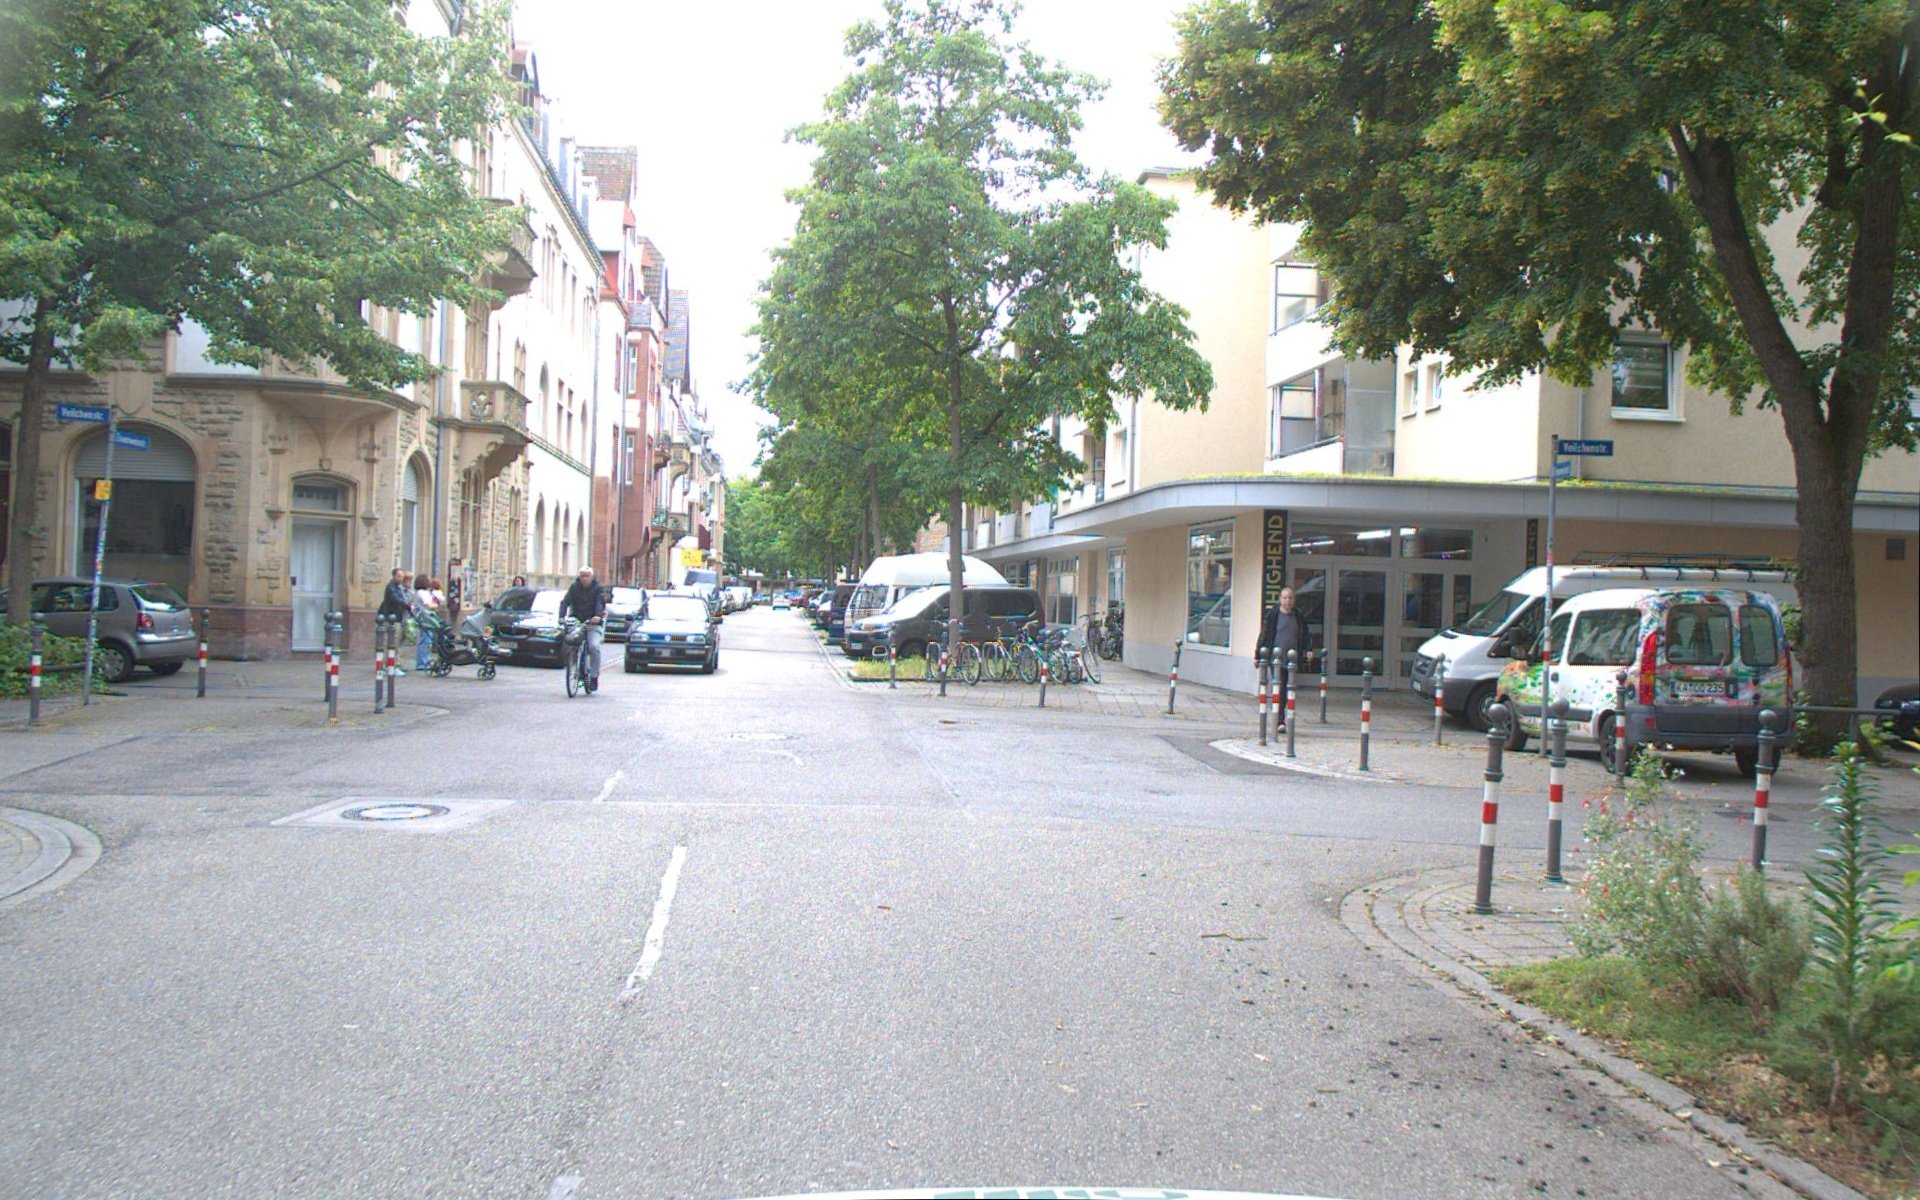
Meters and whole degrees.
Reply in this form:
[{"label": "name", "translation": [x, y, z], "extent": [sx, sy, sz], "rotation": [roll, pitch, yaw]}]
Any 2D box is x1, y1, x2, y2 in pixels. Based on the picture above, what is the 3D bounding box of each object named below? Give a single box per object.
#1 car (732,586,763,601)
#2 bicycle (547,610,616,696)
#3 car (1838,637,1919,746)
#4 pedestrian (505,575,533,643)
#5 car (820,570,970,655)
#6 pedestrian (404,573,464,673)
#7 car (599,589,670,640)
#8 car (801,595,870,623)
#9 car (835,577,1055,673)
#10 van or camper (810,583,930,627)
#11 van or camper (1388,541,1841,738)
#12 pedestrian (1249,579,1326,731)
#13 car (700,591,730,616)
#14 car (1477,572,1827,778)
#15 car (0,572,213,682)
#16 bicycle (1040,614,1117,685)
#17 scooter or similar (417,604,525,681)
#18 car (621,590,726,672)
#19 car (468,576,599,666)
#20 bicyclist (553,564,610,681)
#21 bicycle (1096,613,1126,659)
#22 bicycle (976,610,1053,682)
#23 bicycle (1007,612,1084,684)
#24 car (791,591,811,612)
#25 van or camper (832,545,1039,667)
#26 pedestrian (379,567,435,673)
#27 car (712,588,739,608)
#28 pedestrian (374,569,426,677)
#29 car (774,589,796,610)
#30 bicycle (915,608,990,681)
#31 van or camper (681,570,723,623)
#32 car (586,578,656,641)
[{"label": "car", "translation": [-26.469, -0.766, 206.277], "extent": [3.689, 1.673, 1.815], "rotation": [2, -2, 43]}, {"label": "bicycle", "translation": [-5.175, 0.708, 22.697], "extent": [0.621, 1.113, 1.797], "rotation": [2, -1, -4]}, {"label": "car", "translation": [14.973, 1.332, 23.377], "extent": [4.079, 1.453, 1.908], "rotation": [2, 0, 6]}, {"label": "pedestrian", "translation": [-10.294, 0.205, 38.594], "extent": [0.505, 1.545, 0.546], "rotation": [2, 0, -6]}, {"label": "car", "translation": [-1.774, 0.367, 46.588], "extent": [2.024, 2.235, 4.386], "rotation": [2, 0, 33]}, {"label": "pedestrian", "translation": [-8.794, 0.380, 27.657], "extent": [0.619, 1.621, 0.667], "rotation": [2, 0, 35]}, {"label": "car", "translation": [-9.919, 0.459, 50.635], "extent": [1.693, 1.411, 3.924], "rotation": [3, -1, -6]}, {"label": "car", "translation": [-7.934, 0.578, 105.631], "extent": [3.980, 1.586, 1.860], "rotation": [2, 0, -37]}, {"label": "car", "translation": [-0.299, 0.531, 34.955], "extent": [4.288, 1.886, 1.891], "rotation": [2, 0, -32]}, {"label": "van or camper", "translation": [-3.950, 0.212, 72.863], "extent": [4.961, 1.902, 2.102], "rotation": [0, 0, -34]}, {"label": "van or camper", "translation": [9.364, 0.512, 24.038], "extent": [5.653, 2.537, 2.137], "rotation": [2, 3, -1]}, {"label": "pedestrian", "translation": [4.048, 0.674, 20.452], "extent": [0.763, 1.828, 0.509], "rotation": [2, 0, -4]}, {"label": "car", "translation": [-16.045, 0.212, 108.314], "extent": [1.755, 1.506, 4.016], "rotation": [3, 0, -7]}, {"label": "car", "translation": [7.009, 0.689, 17.238], "extent": [1.735, 1.851, 3.997], "rotation": [2, 0, -4]}, {"label": "car", "translation": [-13.207, 0.372, 24.546], "extent": [3.494, 1.485, 1.650], "rotation": [1, 2, 3]}, {"label": "bicycle", "translation": [2.104, 0.873, 29.601], "extent": [0.542, 1.194, 1.682], "rotation": [2, 0, -27]}, {"label": "scooter or similar", "translation": [-7.837, 0.671, 26.543], "extent": [1.438, 1.123, 0.676], "rotation": [4, 0, 5]}, {"label": "car", "translation": [-5.451, 0.592, 31.820], "extent": [1.675, 1.438, 3.847], "rotation": [1, -1, -6]}, {"label": "car", "translation": [-8.096, 0.407, 31.693], "extent": [1.676, 1.521, 3.996], "rotation": [3, -1, -5]}, {"label": "bicyclist", "translation": [-5.171, 0.303, 22.620], "extent": [0.635, 1.565, 0.676], "rotation": [1, 0, -4]}, {"label": "bicycle", "translation": [3.819, 0.905, 41.928], "extent": [0.475, 1.109, 1.699], "rotation": [2, 0, -4]}, {"label": "bicycle", "translation": [0.940, 0.792, 28.994], "extent": [0.542, 1.194, 1.713], "rotation": [2, 0, -27]}, {"label": "bicycle", "translation": [1.505, 0.831, 29.286], "extent": [0.542, 1.194, 1.713], "rotation": [2, 0, -27]}, {"label": "car", "translation": [-16.876, 0.140, 175.434], "extent": [1.956, 2.048, 3.994], "rotation": [5, 0, -7]}, {"label": "van or camper", "translation": [-0.519, 0.166, 38.013], "extent": [4.551, 2.641, 1.885], "rotation": [2, 0, -39]}, {"label": "pedestrian", "translation": [-8.988, 0.326, 26.876], "extent": [0.603, 1.672, 0.604], "rotation": [2, 0, 6]}, {"label": "car", "translation": [-18.581, -0.141, 131.058], "extent": [1.955, 1.501, 3.995], "rotation": [2, 0, -6]}, {"label": "pedestrian", "translation": [-8.892, 0.358, 26.291], "extent": [0.516, 1.672, 0.529], "rotation": [3, 0, 6]}, {"label": "car", "translation": [-16.735, -0.010, 158.242], "extent": [1.955, 1.825, 3.995], "rotation": [3, -1, -5]}, {"label": "bicycle", "translation": [-0.144, 0.753, 28.512], "extent": [0.542, 1.194, 1.713], "rotation": [2, 0, -27]}, {"label": "van or camper", "translation": [-14.315, -0.236, 91.911], "extent": [1.969, 2.697, 5.310], "rotation": [2, 2, -6]}, {"label": "car", "translation": [-9.474, 0.241, 46.387], "extent": [1.615, 1.598, 2.952], "rotation": [3, 1, -7]}]
